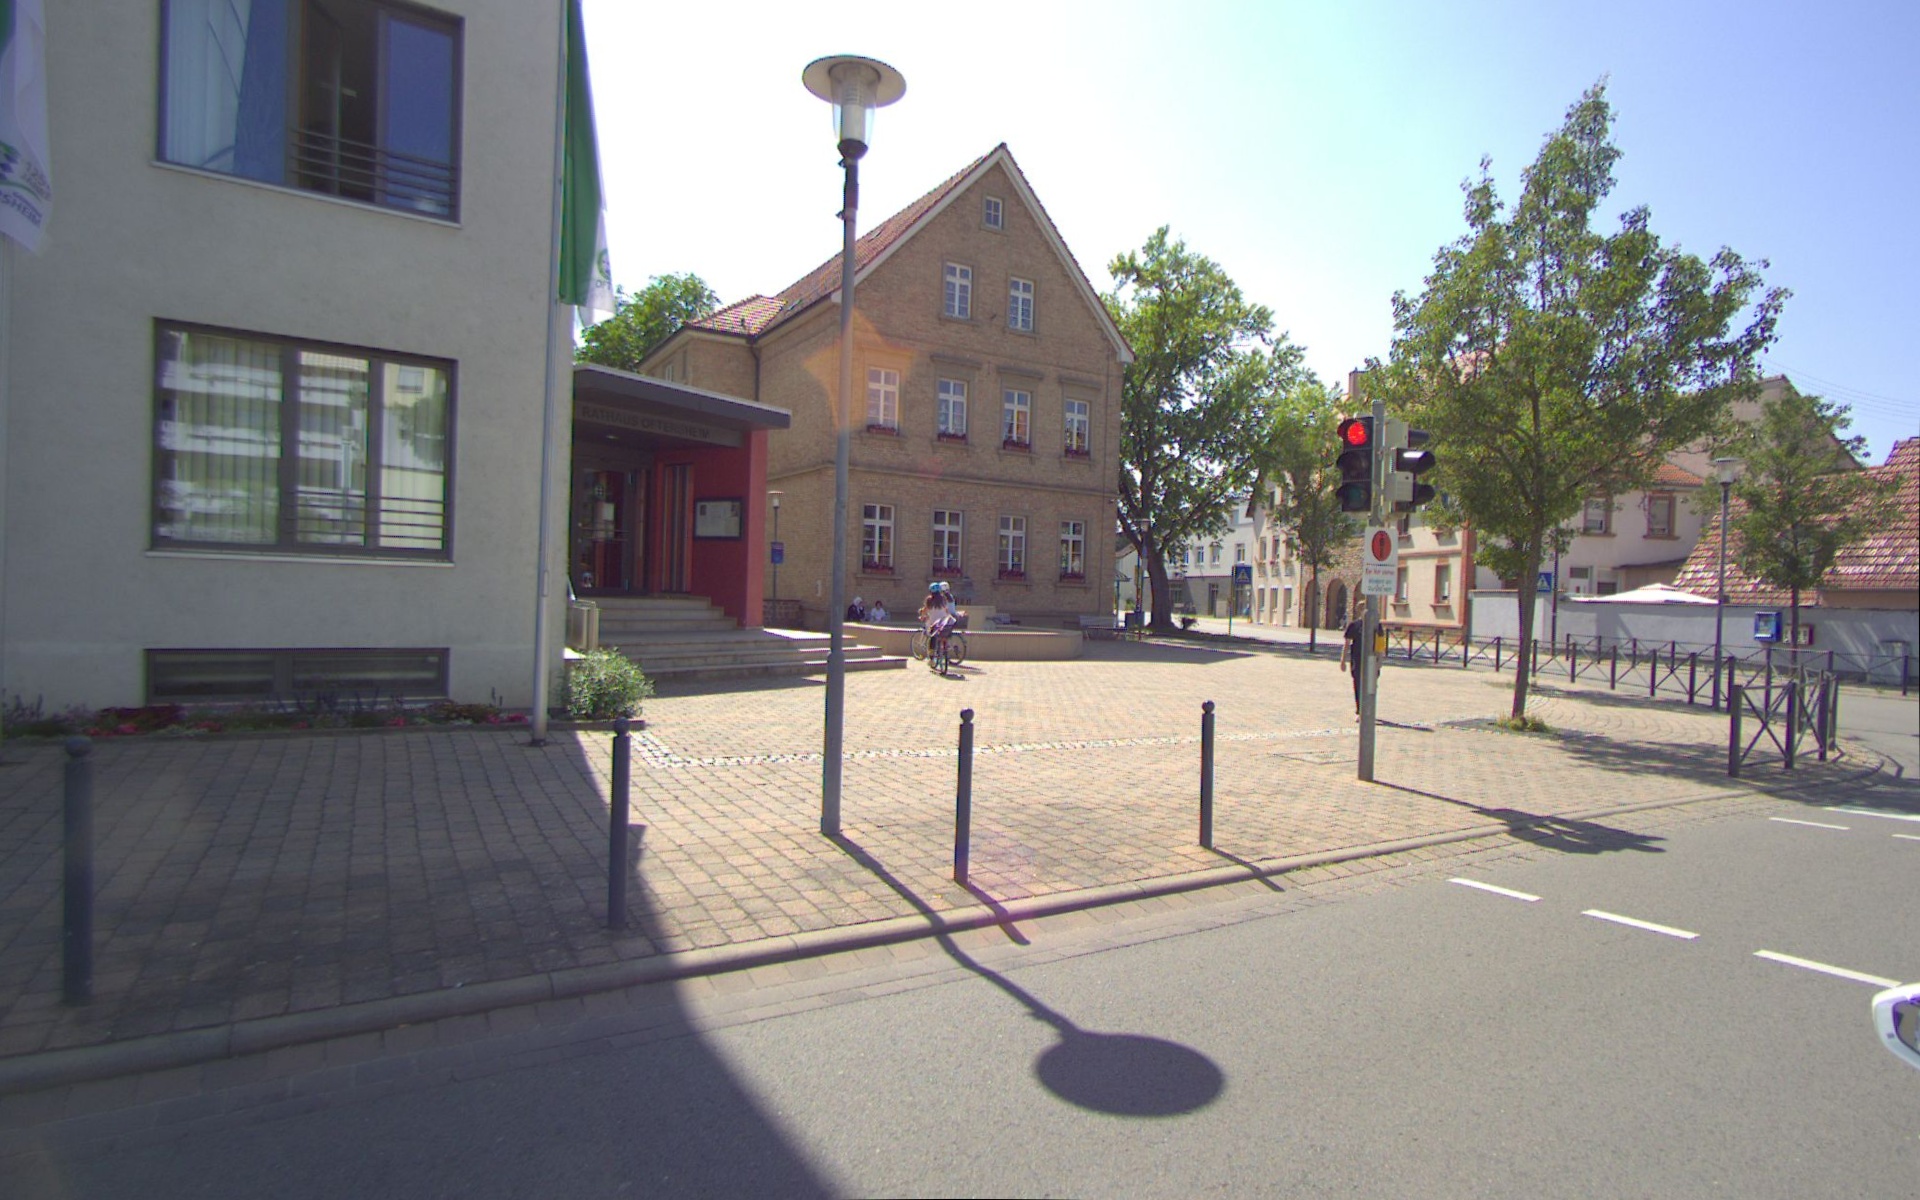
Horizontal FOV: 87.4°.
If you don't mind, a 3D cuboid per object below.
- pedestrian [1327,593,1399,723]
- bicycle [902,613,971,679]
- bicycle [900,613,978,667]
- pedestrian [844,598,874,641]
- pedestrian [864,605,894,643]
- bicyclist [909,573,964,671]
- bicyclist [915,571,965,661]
[{"bbox_3d":[5.522,0.769,13.821,0.798,1.676,0.851,3,1,19],"label":"pedestrian"},{"bbox_3d":[-0.430,0.759,17.206,0.665,0.970,1.889,3,1,-17],"label":"bicycle"},{"bbox_3d":[-0.426,0.745,19.251,0.668,0.970,1.881,1,-1,-30],"label":"bicycle"},{"bbox_3d":[-2.864,0.554,28.380,0.611,1.186,0.636,2,0,-29],"label":"pedestrian"},{"bbox_3d":[-2.314,0.684,28.722,0.611,1.041,0.636,2,0,-29],"label":"pedestrian"},{"bbox_3d":[-0.407,0.366,17.216,0.660,1.602,0.759,4,0,-17],"label":"bicyclist"},{"bbox_3d":[-0.381,0.312,19.180,0.663,1.686,0.755,1,-1,-31],"label":"bicyclist"}]
